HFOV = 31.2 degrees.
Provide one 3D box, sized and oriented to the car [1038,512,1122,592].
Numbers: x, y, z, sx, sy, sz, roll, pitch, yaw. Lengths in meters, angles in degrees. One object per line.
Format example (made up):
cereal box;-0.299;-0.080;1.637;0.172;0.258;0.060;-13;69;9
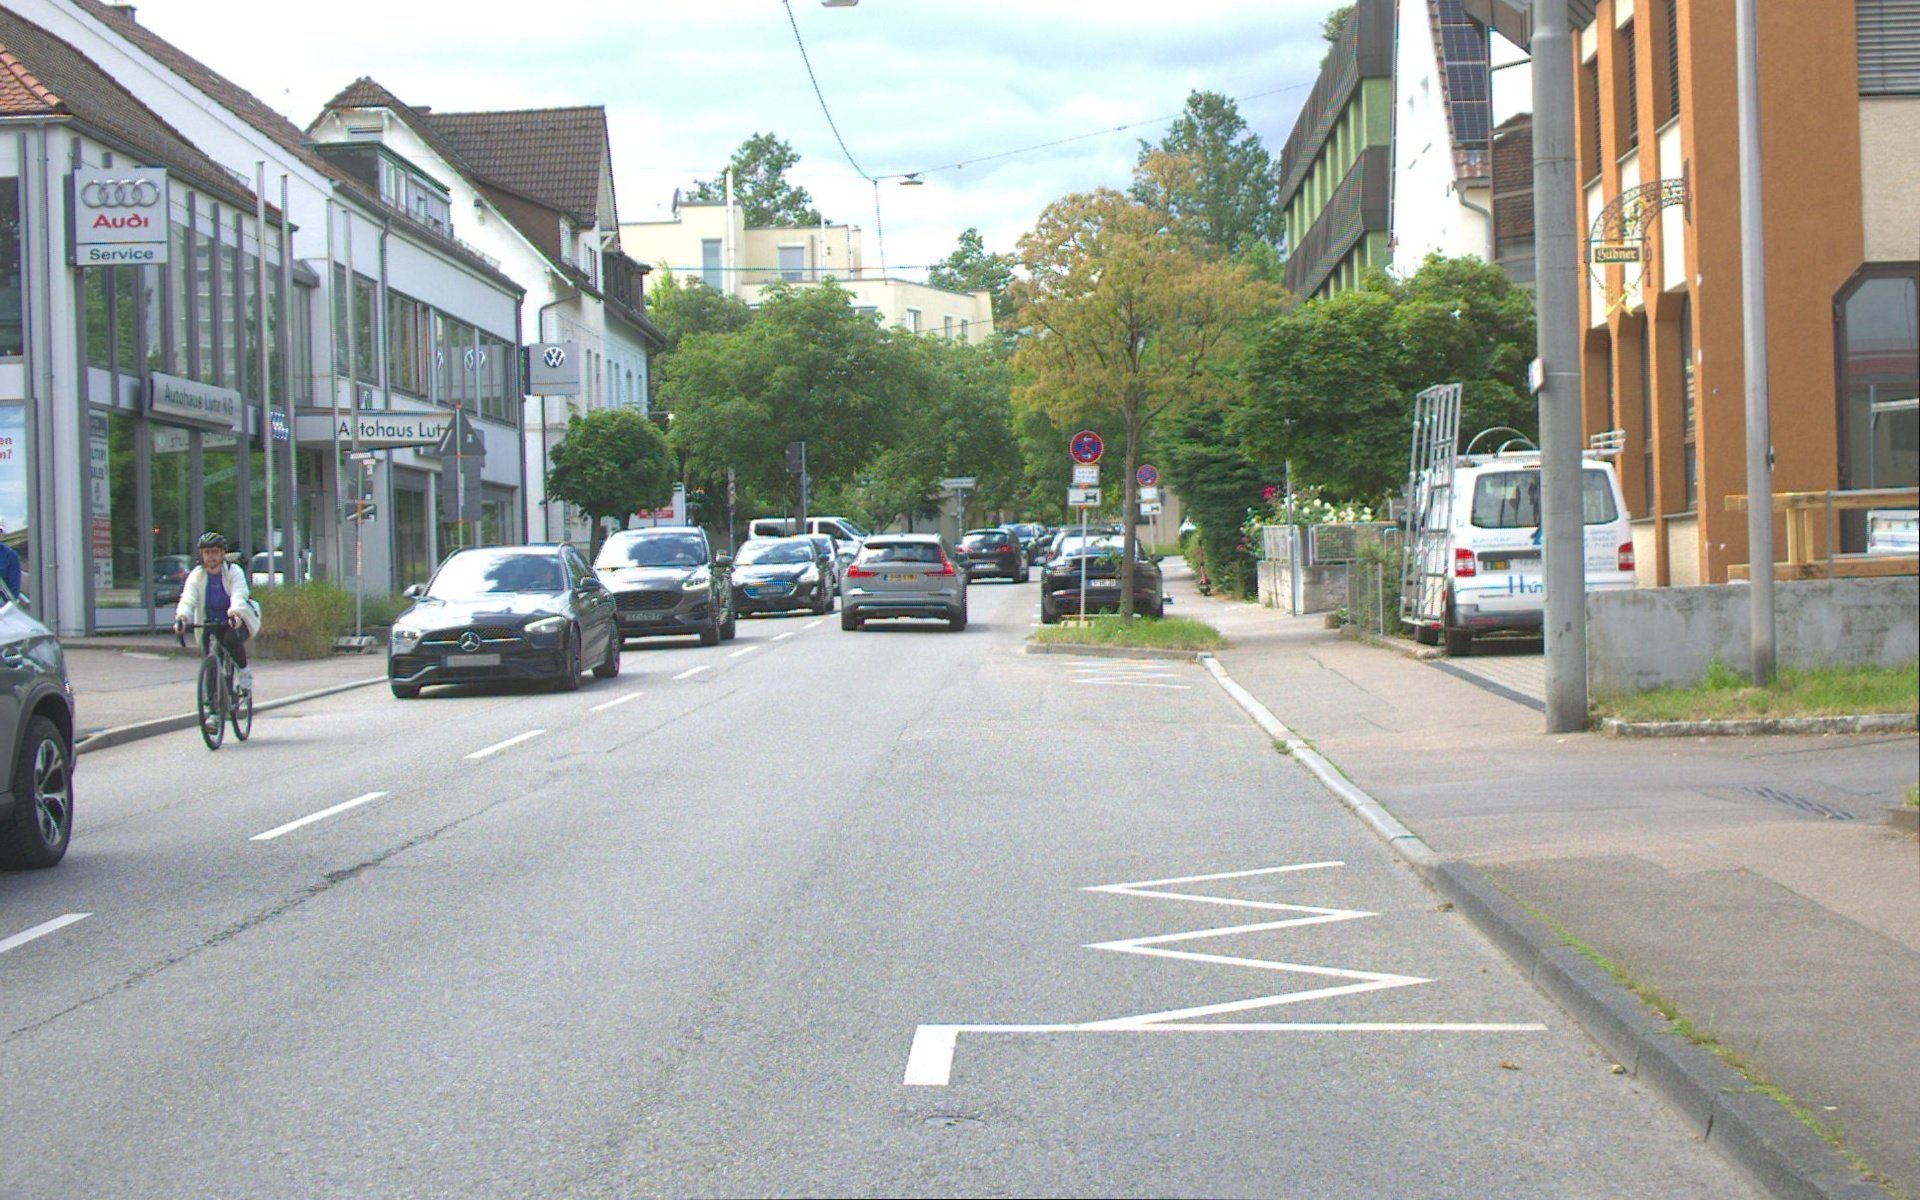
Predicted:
car;2.667;-1.051;75.623;1.690;1.661;4.461;-2;0;3

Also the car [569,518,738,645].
car;-4.185;-0.297;47.595;1.831;1.624;4.321;-2;1;1

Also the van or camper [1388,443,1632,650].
van or camper;5.684;-0.541;36.059;1.867;2.025;4.547;0;0;1

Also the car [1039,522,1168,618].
car;2.316;-0.489;56.389;1.984;1.443;4.751;-2;0;2

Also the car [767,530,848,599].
car;-3.657;-0.848;83.036;1.690;1.574;3.800;-2;0;1

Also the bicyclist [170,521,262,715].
bicyclist;-5.720;0.127;26.455;0.469;1.444;0.865;-3;1;-2

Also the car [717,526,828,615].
car;-3.384;-0.537;62.618;1.831;1.518;4.171;-2;0;-1

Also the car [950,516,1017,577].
car;0.597;-1.376;89.487;1.614;1.518;3.570;-2;0;-1

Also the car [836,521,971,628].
car;-0.835;-0.362;53.214;1.956;1.518;4.329;-1;-1;0

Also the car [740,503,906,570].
car;-4.730;-2.194;118.967;5.217;1.986;2.106;-3;1;20

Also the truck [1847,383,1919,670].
truck;10.695;-0.719;30.428;5.087;2.449;2.357;-1;2;2

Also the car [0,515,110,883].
car;-5.221;0.501;14.570;1.866;1.612;4.535;-2;2;3

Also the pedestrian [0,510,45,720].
pedestrian;-8.125;0.123;28.771;0.682;1.731;0.868;0;0;1

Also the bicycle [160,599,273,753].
bicycle;-5.681;0.559;26.335;0.454;1.083;1.870;-3;1;-2

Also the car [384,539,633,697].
car;-4.543;0.134;35.191;1.740;1.424;4.524;-2;1;2
